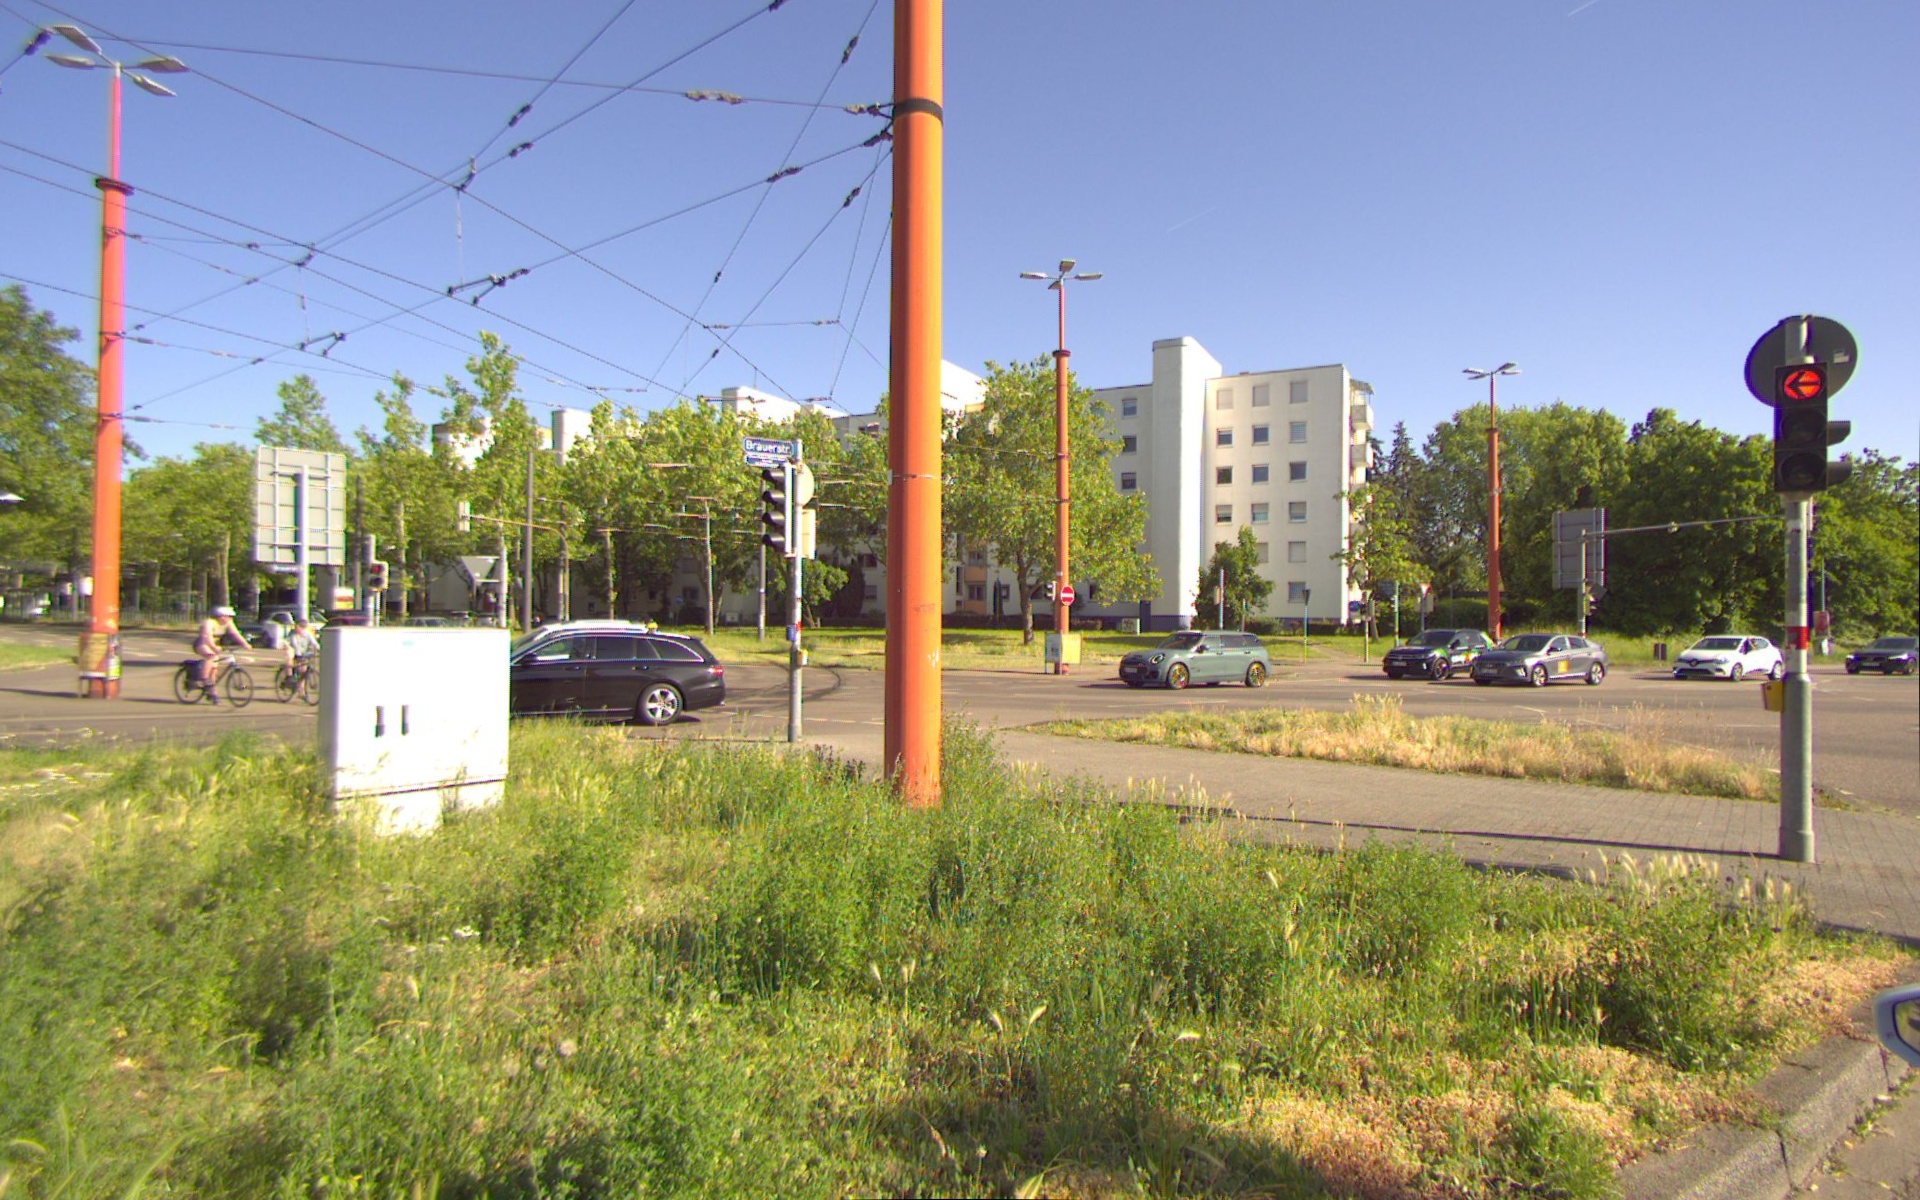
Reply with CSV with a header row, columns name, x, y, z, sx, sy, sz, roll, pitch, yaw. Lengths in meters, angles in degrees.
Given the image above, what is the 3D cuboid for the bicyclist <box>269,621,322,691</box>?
name,x,y,z,sx,sy,sz,roll,pitch,yaw
bicyclist,-13.207,1.093,19.966,0.687,1.340,0.548,1,0,22

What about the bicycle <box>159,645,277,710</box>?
name,x,y,z,sx,sy,sz,roll,pitch,yaw
bicycle,-13.979,1.436,18.925,2.313,1.095,0.474,1,0,17

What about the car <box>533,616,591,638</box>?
name,x,y,z,sx,sy,sz,roll,pitch,yaw
car,-30.781,2.081,77.764,3.934,1.617,1.890,2,0,-15

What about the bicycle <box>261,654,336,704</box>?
name,x,y,z,sx,sy,sz,roll,pitch,yaw
bicycle,-13.124,1.548,19.923,1.594,0.894,0.368,1,0,21

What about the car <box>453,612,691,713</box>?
name,x,y,z,sx,sy,sz,roll,pitch,yaw
car,-7.340,1.152,19.067,4.010,1.730,1.793,2,-2,-29

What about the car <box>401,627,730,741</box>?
name,x,y,z,sx,sy,sz,roll,pitch,yaw
car,-6.118,1.234,15.716,4.551,1.505,1.867,2,0,-30

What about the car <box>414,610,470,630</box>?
name,x,y,z,sx,sy,sz,roll,pitch,yaw
car,-45.134,1.769,87.626,3.934,1.617,1.890,2,0,-15

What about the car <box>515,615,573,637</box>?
name,x,y,z,sx,sy,sz,roll,pitch,yaw
car,-32.861,2.038,79.408,3.934,1.617,1.890,2,0,-15

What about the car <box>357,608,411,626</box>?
name,x,y,z,sx,sy,sz,roll,pitch,yaw
car,-53.672,1.585,93.670,3.934,1.617,1.890,2,0,-15

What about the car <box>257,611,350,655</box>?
name,x,y,z,sx,sy,sz,roll,pitch,yaw
car,-28.922,1.413,44.219,3.929,1.773,1.909,1,0,31

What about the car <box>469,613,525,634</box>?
name,x,y,z,sx,sy,sz,roll,pitch,yaw
car,-38.565,1.918,83.769,3.934,1.617,1.890,2,0,-15

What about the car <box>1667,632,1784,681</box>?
name,x,y,z,sx,sy,sz,roll,pitch,yaw
car,24.941,1.822,32.727,3.901,1.478,1.598,1,-1,-29

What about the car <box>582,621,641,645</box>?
name,x,y,z,sx,sy,sz,roll,pitch,yaw
car,-25.675,2.407,74.217,3.934,1.617,1.890,2,0,-15

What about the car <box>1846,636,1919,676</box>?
name,x,y,z,sx,sy,sz,roll,pitch,yaw
car,35.466,2.088,37.852,4.737,1.386,1.622,1,-1,-29

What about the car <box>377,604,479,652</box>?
name,x,y,z,sx,sy,sz,roll,pitch,yaw
car,-23.027,1.178,43.438,4.200,1.926,1.996,1,0,31

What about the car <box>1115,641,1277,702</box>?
name,x,y,z,sx,sy,sz,roll,pitch,yaw
car,6.049,1.804,25.614,4.088,1.406,1.424,2,0,-28

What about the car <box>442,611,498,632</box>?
name,x,y,z,sx,sy,sz,roll,pitch,yaw
car,-41.764,1.846,85.651,3.934,1.617,1.890,2,0,-15

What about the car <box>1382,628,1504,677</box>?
name,x,y,z,sx,sy,sz,roll,pitch,yaw
car,15.202,1.653,31.587,3.838,1.452,1.538,2,-3,-29

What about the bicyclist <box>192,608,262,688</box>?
name,x,y,z,sx,sy,sz,roll,pitch,yaw
bicyclist,-13.794,0.895,18.915,0.742,1.449,0.752,1,0,16

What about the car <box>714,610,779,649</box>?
name,x,y,z,sx,sy,sz,roll,pitch,yaw
car,-13.846,1.901,65.037,3.934,2.341,1.889,2,0,-15

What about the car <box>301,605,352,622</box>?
name,x,y,z,sx,sy,sz,roll,pitch,yaw
car,-63.543,1.374,100.832,3.934,1.617,1.890,2,0,-15

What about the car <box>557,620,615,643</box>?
name,x,y,z,sx,sy,sz,roll,pitch,yaw
car,-28.139,2.352,75.678,3.934,1.617,1.890,2,0,-15

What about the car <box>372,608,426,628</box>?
name,x,y,z,sx,sy,sz,roll,pitch,yaw
car,-50.999,1.639,91.389,3.934,1.617,1.890,2,0,-15

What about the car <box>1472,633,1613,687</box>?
name,x,y,z,sx,sy,sz,roll,pitch,yaw
car,16.362,1.638,28.171,4.211,1.395,1.541,1,-1,-30

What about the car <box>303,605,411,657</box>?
name,x,y,z,sx,sy,sz,roll,pitch,yaw
car,-24.291,1.218,40.443,4.200,1.926,1.996,1,0,31

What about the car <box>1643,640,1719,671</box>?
name,x,y,z,sx,sy,sz,roll,pitch,yaw
car,32.124,2.452,44.739,3.571,1.290,1.446,2,0,-31

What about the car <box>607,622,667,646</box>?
name,x,y,z,sx,sy,sz,roll,pitch,yaw
car,-23.186,2.459,72.238,3.934,1.617,1.890,2,0,-15

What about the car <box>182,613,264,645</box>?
name,x,y,z,sx,sy,sz,roll,pitch,yaw
car,-34.719,1.360,47.327,3.930,1.339,1.732,1,0,31
